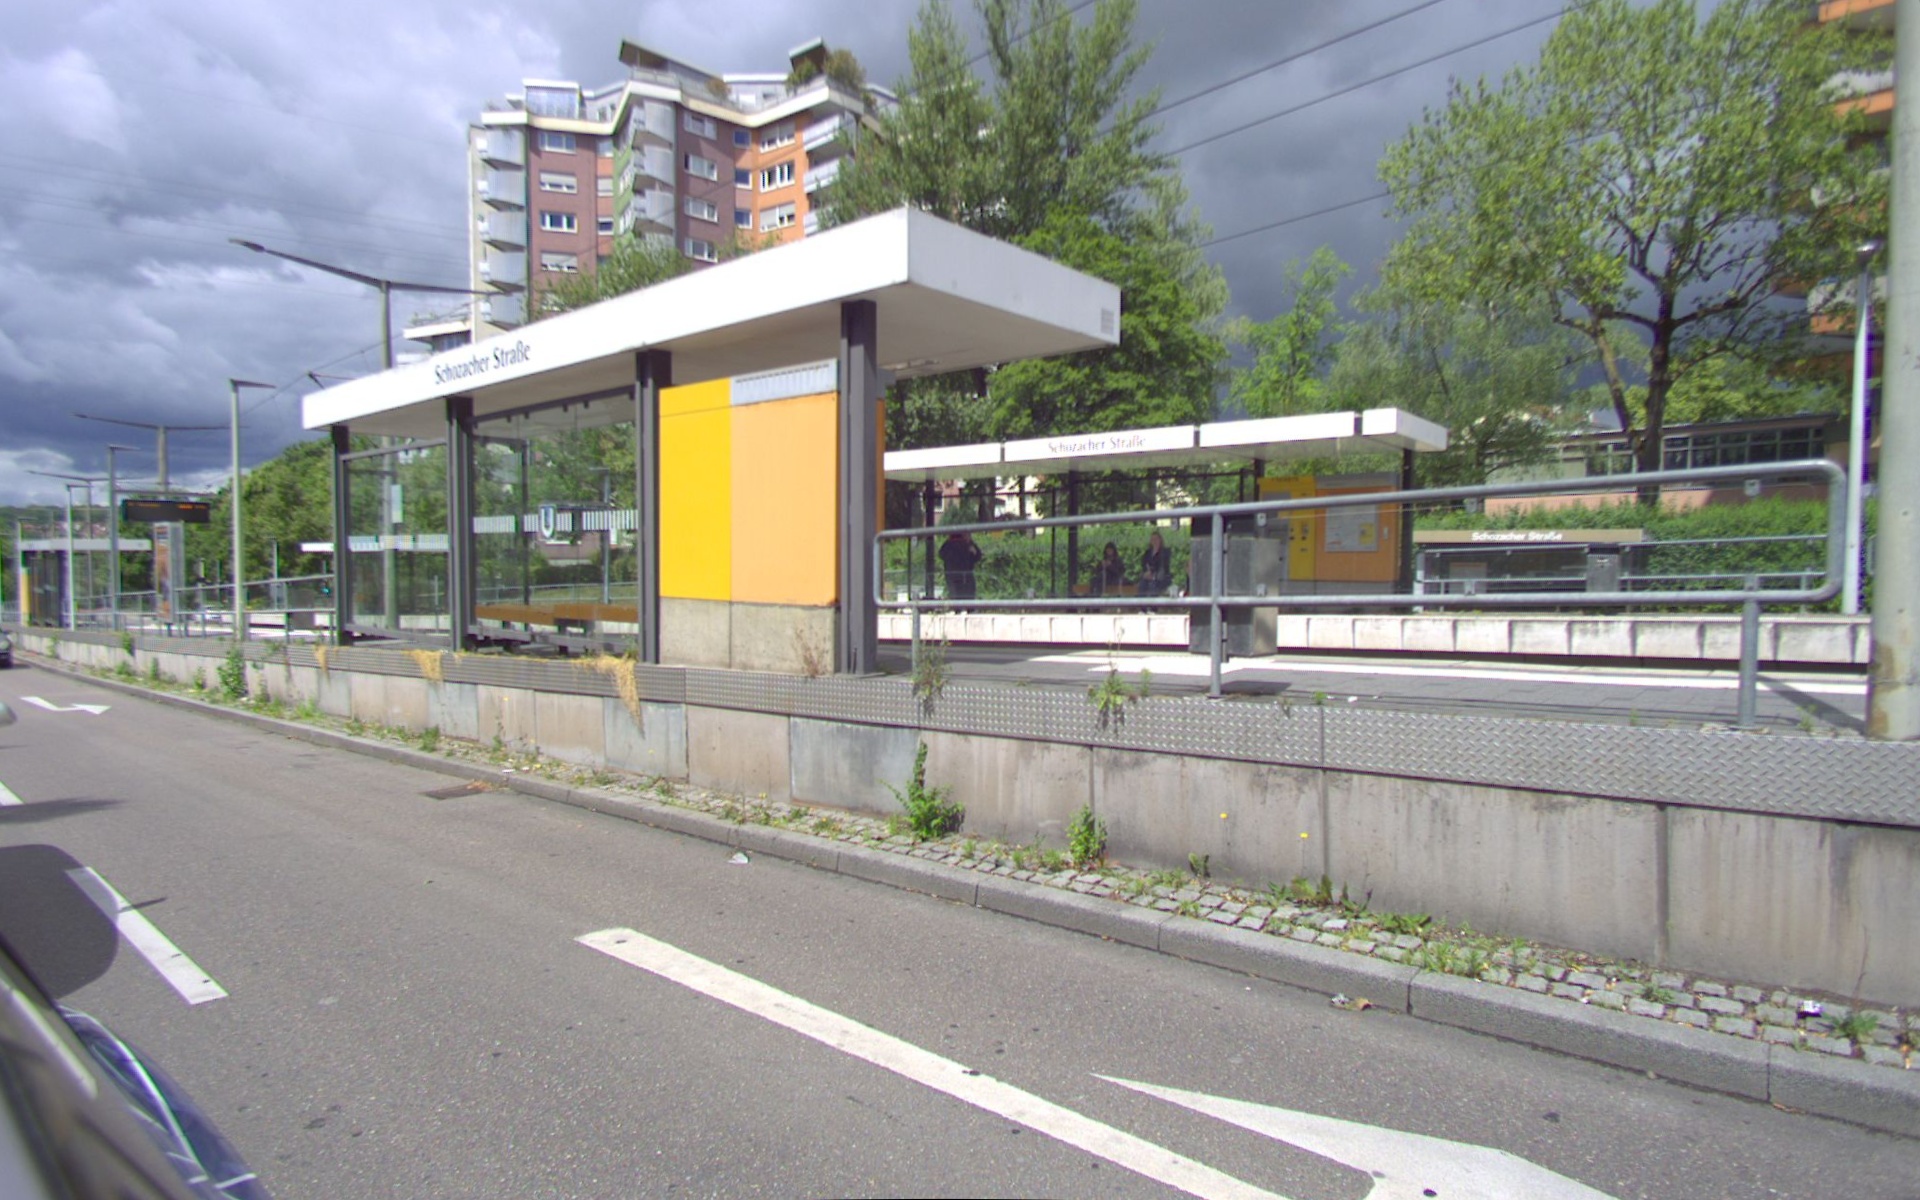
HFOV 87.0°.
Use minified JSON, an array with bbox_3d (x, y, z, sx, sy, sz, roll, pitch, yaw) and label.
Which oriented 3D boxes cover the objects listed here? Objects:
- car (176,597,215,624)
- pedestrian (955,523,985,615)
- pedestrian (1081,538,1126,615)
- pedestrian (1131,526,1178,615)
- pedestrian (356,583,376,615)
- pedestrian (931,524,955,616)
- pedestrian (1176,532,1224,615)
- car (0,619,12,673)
[{"bbox_3d":[-60.459,0.831,80.004,4.000,2.029,1.714,-1,0,43],"label":"car"},{"bbox_3d":[0.192,-0.579,19.220,0.544,1.726,0.386,-1,0,0],"label":"pedestrian"},{"bbox_3d":[2.489,-0.400,17.492,0.463,1.287,0.704,-1,0,40],"label":"pedestrian"},{"bbox_3d":[3.204,-0.479,16.691,0.463,1.428,0.704,-1,0,40],"label":"pedestrian"},{"bbox_3d":[-24.249,-0.044,41.321,0.561,1.287,0.530,-1,0,39],"label":"pedestrian"},{"bbox_3d":[-0.321,-0.566,19.173,0.421,1.726,0.353,-1,0,-1],"label":"pedestrian"},{"bbox_3d":[3.828,-0.417,16.138,0.463,1.287,0.704,-1,0,40],"label":"pedestrian"},{"bbox_3d":[-26.849,1.223,27.139,4.065,1.395,1.797,-1,0,43],"label":"car"}]
